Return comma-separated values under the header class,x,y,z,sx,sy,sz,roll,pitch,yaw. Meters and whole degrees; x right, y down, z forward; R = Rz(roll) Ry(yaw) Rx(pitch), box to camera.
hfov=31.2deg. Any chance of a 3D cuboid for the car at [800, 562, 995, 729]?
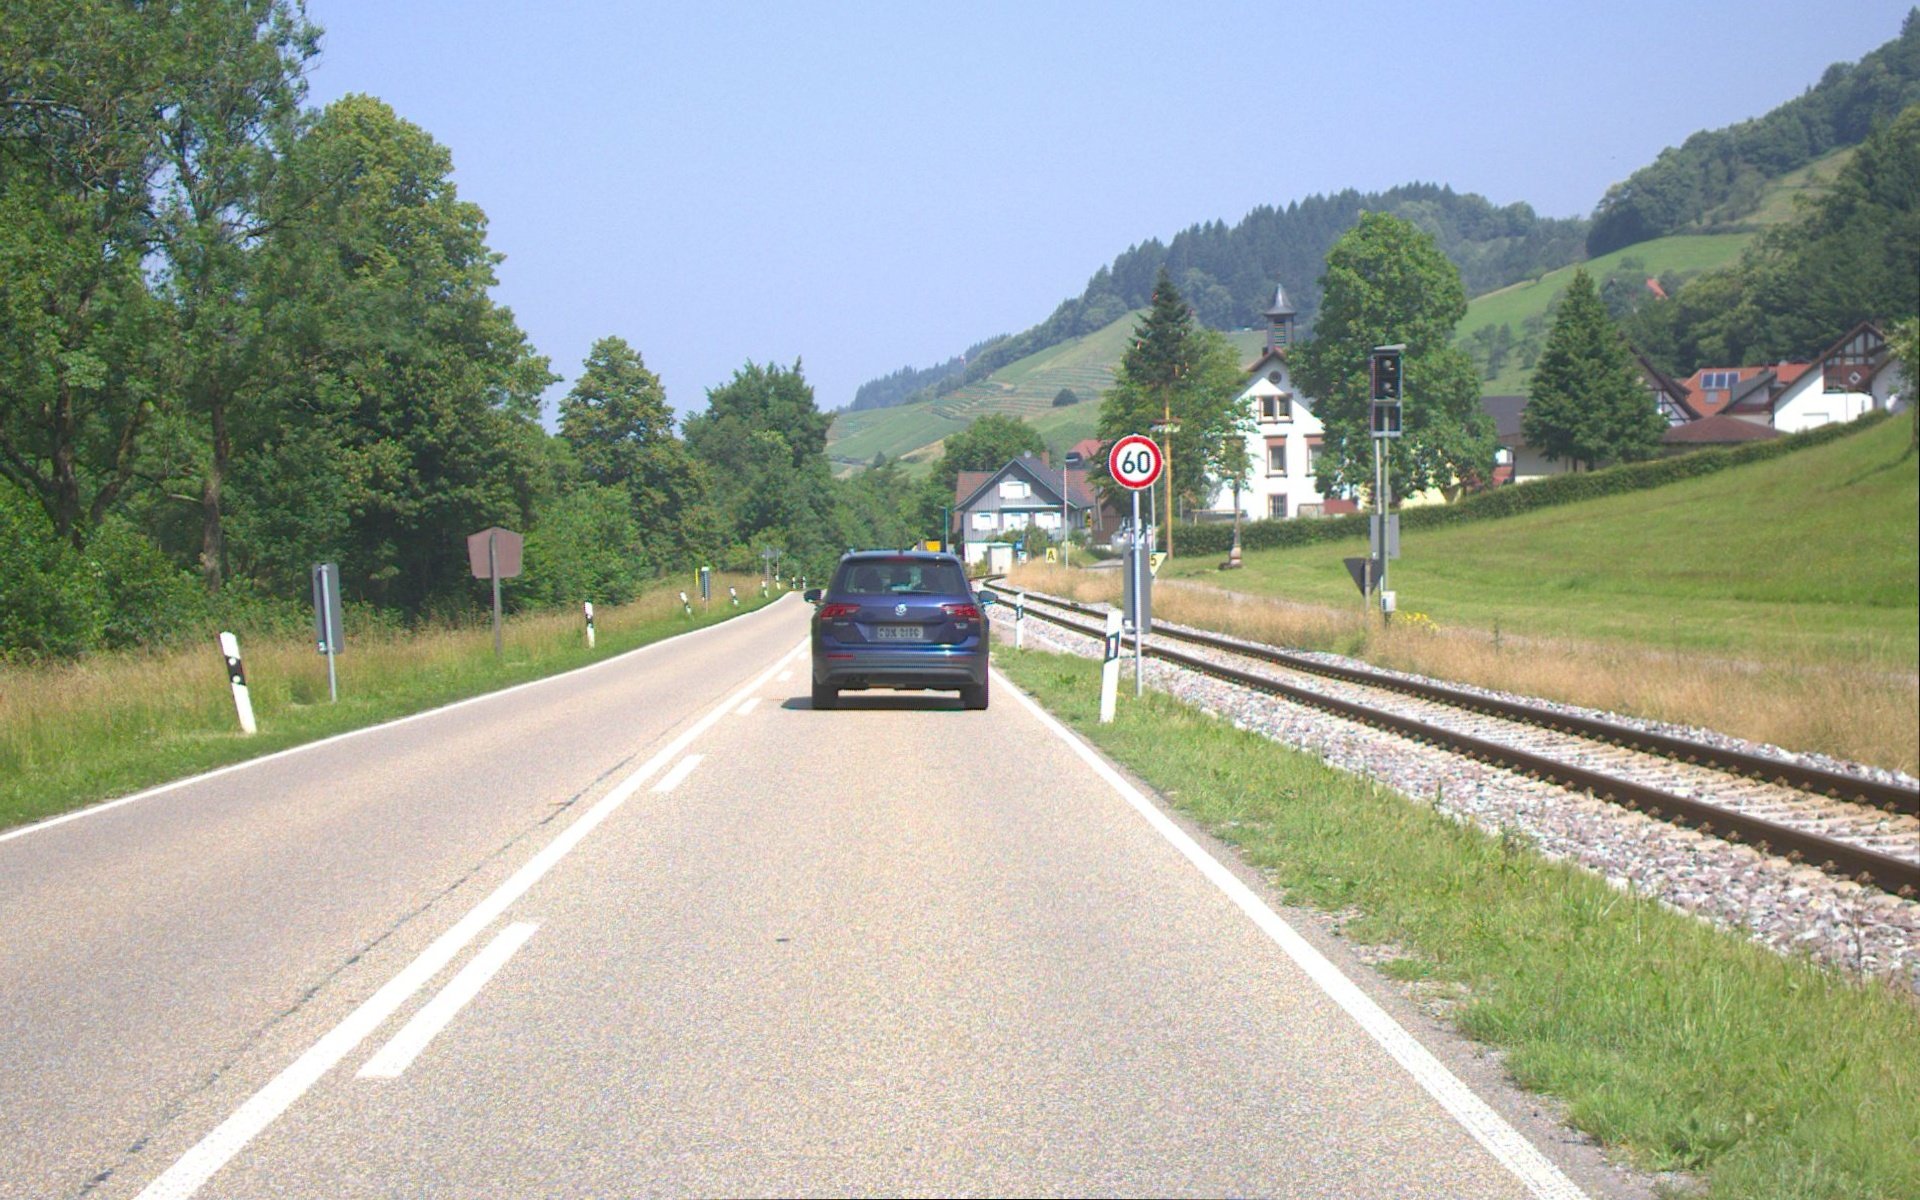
class,x,y,z,sx,sy,sz,roll,pitch,yaw
car,-0.596,0.427,36.103,1.853,1.643,4.140,0,1,2
